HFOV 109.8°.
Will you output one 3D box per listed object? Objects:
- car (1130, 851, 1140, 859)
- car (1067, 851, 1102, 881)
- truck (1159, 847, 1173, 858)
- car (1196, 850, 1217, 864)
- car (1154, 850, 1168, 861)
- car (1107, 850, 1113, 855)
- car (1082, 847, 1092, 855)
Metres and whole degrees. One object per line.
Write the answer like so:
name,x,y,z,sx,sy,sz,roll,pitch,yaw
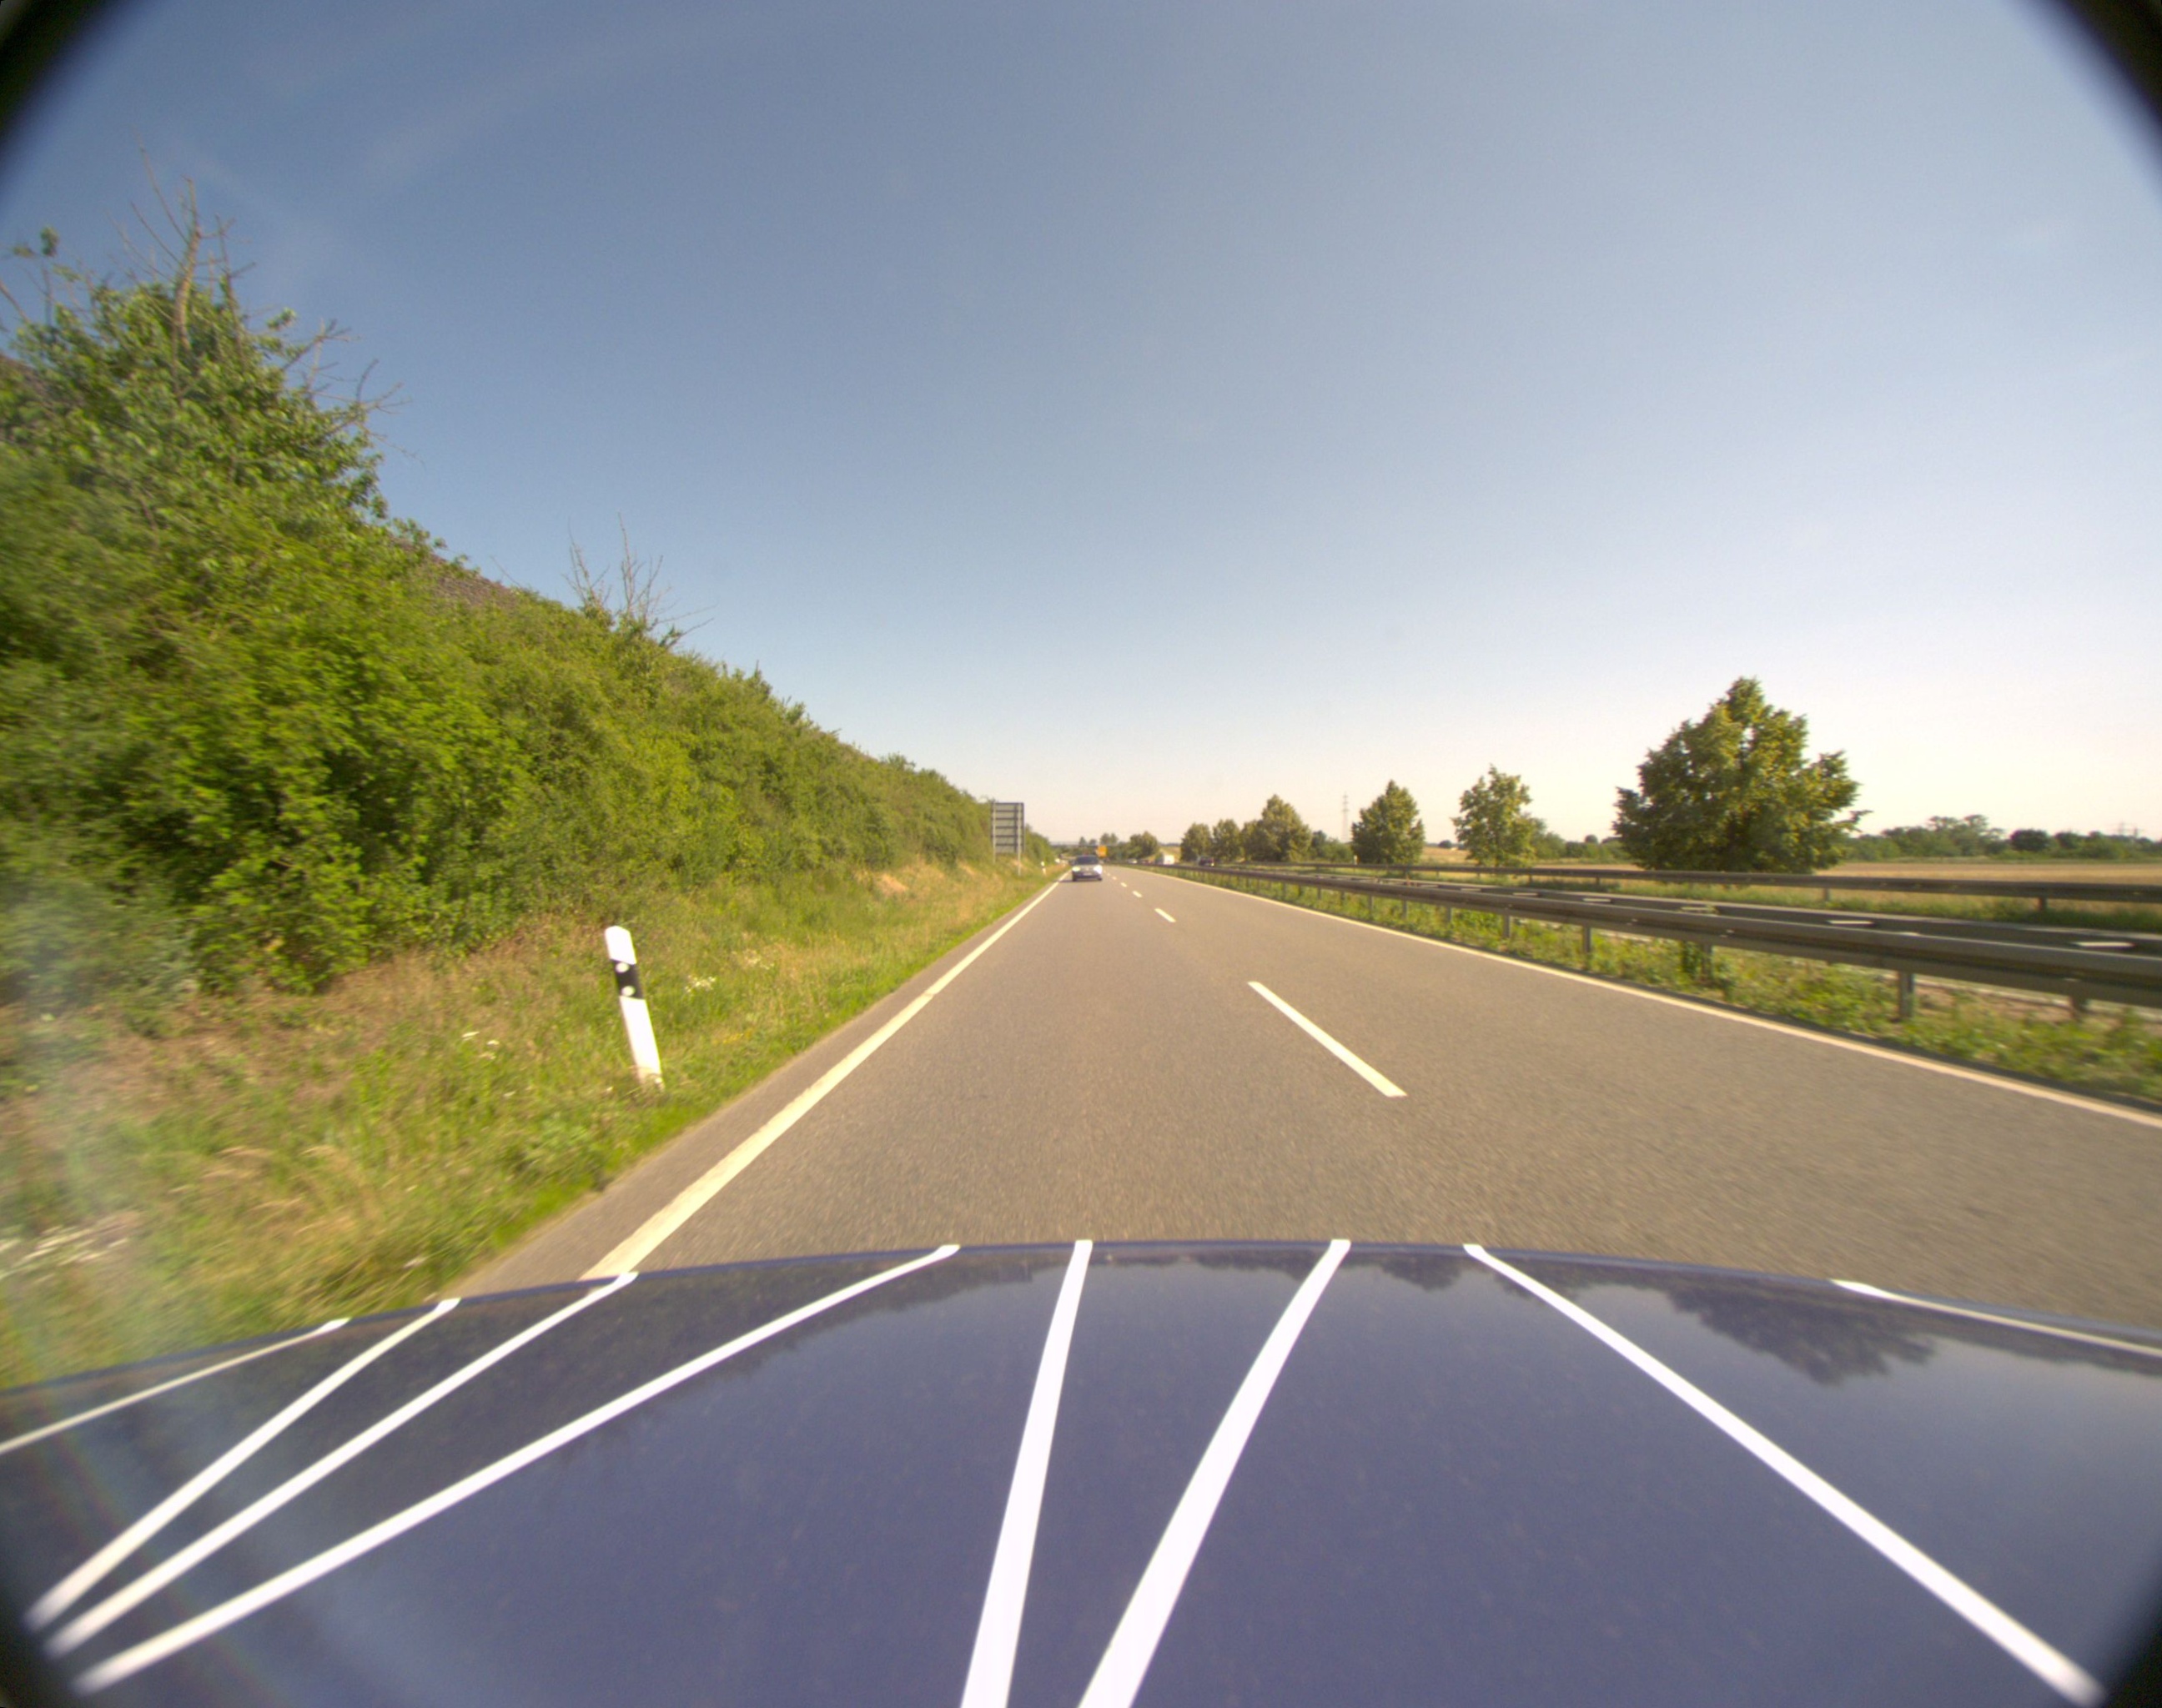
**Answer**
car,11.642,0.260,163.590,1.843,1.655,4.721,-3,1,1
car,0.275,0.716,46.185,1.854,1.635,4.000,-2,1,3
truck,14.827,-0.249,133.035,1.927,1.829,5.292,-2,0,0
car,14.876,0.316,90.226,1.817,1.533,4.453,-1,1,2
car,12.058,0.258,114.635,1.817,1.533,4.453,-1,1,2
car,9.971,-0.563,259.721,1.694,1.532,4.243,-2,0,-1
car,1.059,-0.525,137.019,1.790,1.212,3.999,-2,1,0
